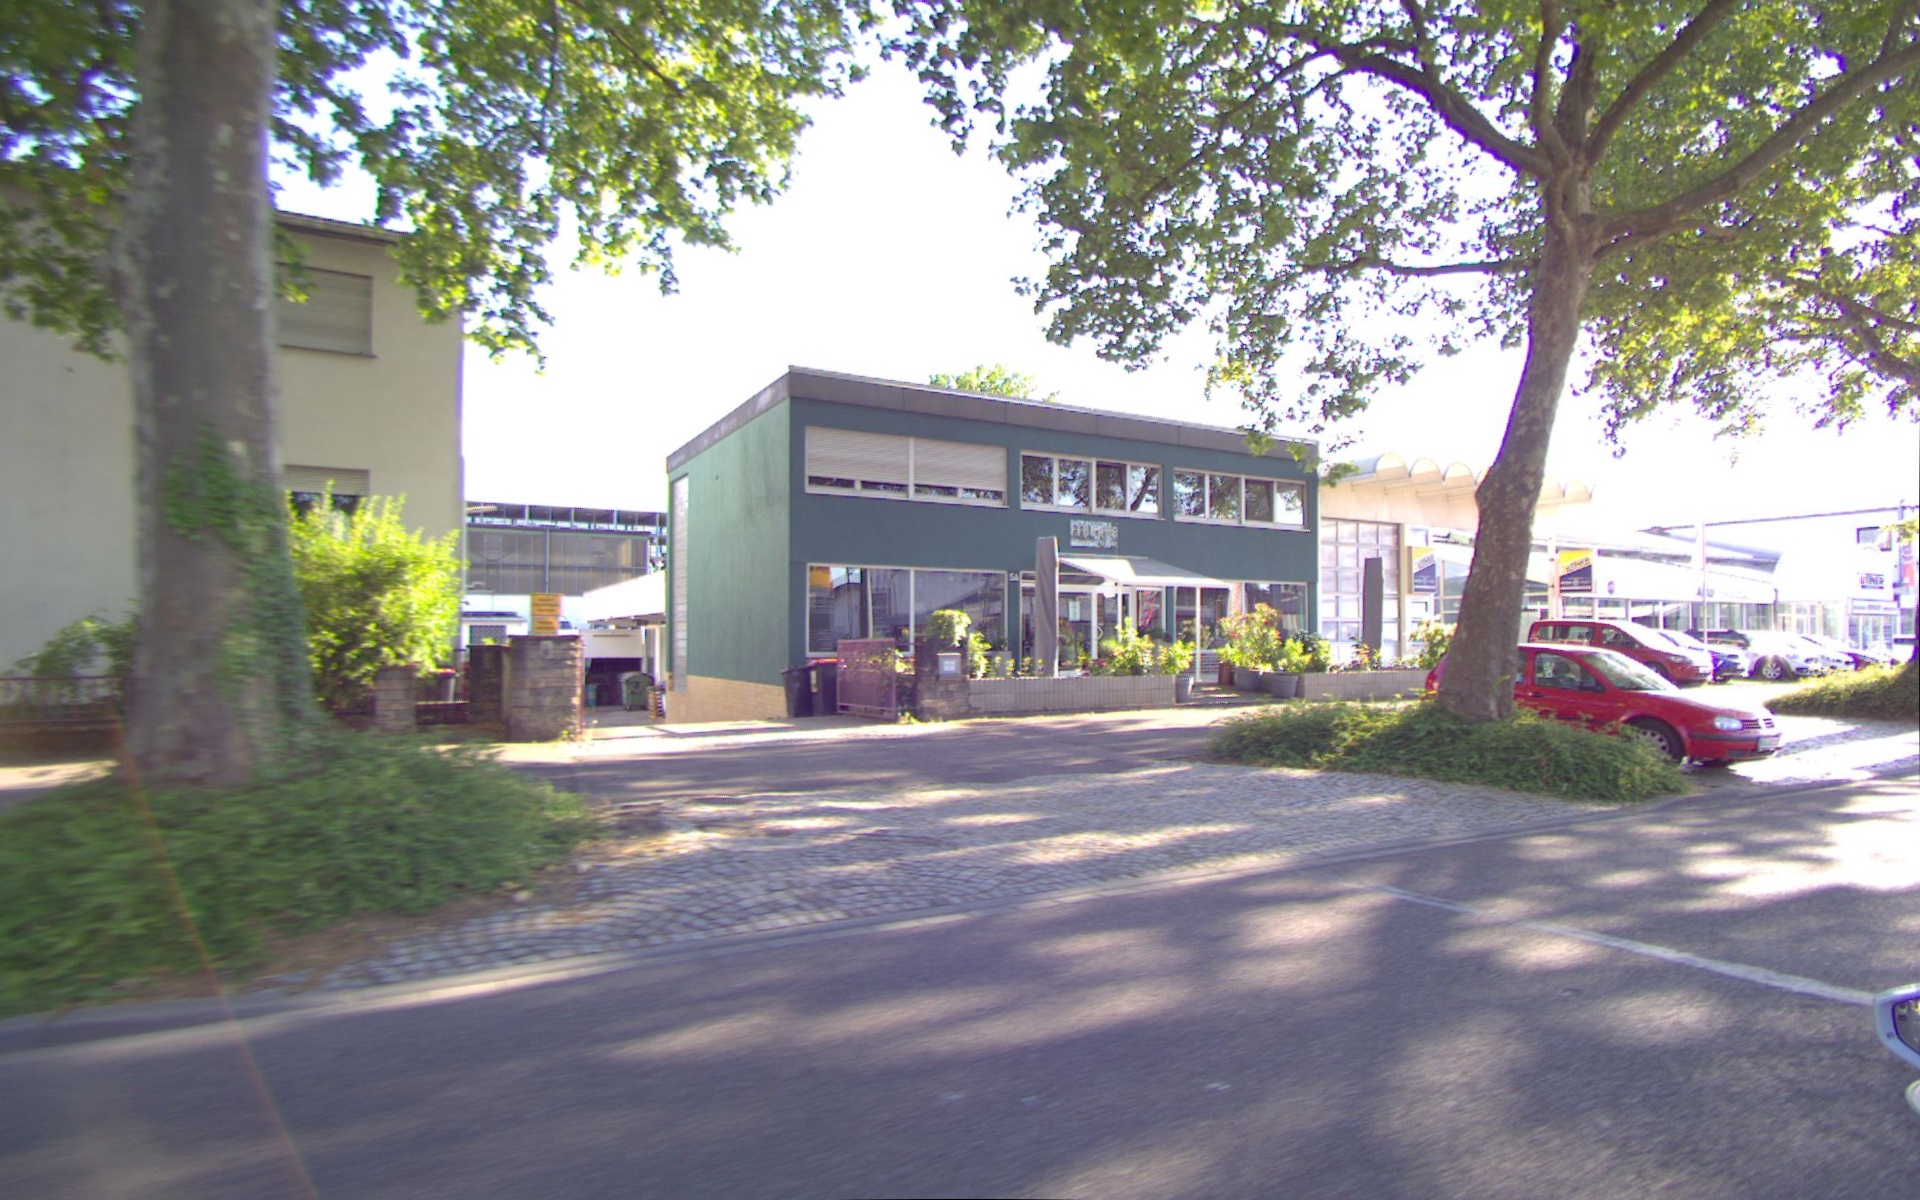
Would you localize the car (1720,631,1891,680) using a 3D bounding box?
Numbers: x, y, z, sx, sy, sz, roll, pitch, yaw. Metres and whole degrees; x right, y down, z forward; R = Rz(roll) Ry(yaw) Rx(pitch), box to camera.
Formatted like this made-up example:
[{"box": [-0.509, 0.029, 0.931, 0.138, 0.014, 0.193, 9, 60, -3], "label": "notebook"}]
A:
[{"box": [30.539, 1.950, 36.425, 1.815, 1.574, 4.442, 2, -1, -30], "label": "car"}]

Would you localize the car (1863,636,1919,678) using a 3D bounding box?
[{"box": [41.264, 2.446, 41.960, 1.977, 1.711, 4.918, 2, -1, -31], "label": "car"}]

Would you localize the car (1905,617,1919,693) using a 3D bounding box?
[{"box": [26.621, 1.415, 24.187, 2.175, 1.923, 5.236, 2, -1, -29], "label": "car"}]

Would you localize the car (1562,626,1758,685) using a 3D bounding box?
[{"box": [21.987, 1.682, 31.759, 1.977, 1.655, 4.690, 2, -1, -30], "label": "car"}]

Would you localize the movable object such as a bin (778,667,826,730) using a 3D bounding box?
[{"box": [-2.984, 1.836, 18.943, 0.629, 1.114, 0.786, 2, -1, -30], "label": "movable object such as a bin"}]

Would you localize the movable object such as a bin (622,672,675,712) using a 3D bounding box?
[{"box": [-12.243, 3.600, 39.423, 1.622, 1.401, 1.739, 2, -1, -30], "label": "movable object such as a bin"}]

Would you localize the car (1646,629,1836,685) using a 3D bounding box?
[{"box": [26.216, 1.863, 33.908, 1.977, 1.664, 4.695, 2, -1, -30], "label": "car"}]

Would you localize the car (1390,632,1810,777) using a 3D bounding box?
[{"box": [8.189, 1.225, 13.290, 1.976, 1.465, 4.277, 2, -1, -29], "label": "car"}]

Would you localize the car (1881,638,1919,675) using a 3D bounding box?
[{"box": [43.057, 2.487, 43.730, 1.976, 1.576, 3.970, 2, -1, -29], "label": "car"}]

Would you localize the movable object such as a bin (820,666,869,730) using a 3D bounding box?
[{"box": [-2.165, 1.820, 18.816, 0.629, 1.114, 0.786, 2, -1, -30], "label": "movable object such as a bin"}]

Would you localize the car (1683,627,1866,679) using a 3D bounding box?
[{"box": [28.358, 1.807, 35.134, 1.906, 1.613, 4.638, 2, -1, -30], "label": "car"}]

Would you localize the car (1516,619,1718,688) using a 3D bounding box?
[{"box": [19.623, 1.540, 30.236, 1.977, 1.843, 4.723, 2, -1, -30], "label": "car"}]
